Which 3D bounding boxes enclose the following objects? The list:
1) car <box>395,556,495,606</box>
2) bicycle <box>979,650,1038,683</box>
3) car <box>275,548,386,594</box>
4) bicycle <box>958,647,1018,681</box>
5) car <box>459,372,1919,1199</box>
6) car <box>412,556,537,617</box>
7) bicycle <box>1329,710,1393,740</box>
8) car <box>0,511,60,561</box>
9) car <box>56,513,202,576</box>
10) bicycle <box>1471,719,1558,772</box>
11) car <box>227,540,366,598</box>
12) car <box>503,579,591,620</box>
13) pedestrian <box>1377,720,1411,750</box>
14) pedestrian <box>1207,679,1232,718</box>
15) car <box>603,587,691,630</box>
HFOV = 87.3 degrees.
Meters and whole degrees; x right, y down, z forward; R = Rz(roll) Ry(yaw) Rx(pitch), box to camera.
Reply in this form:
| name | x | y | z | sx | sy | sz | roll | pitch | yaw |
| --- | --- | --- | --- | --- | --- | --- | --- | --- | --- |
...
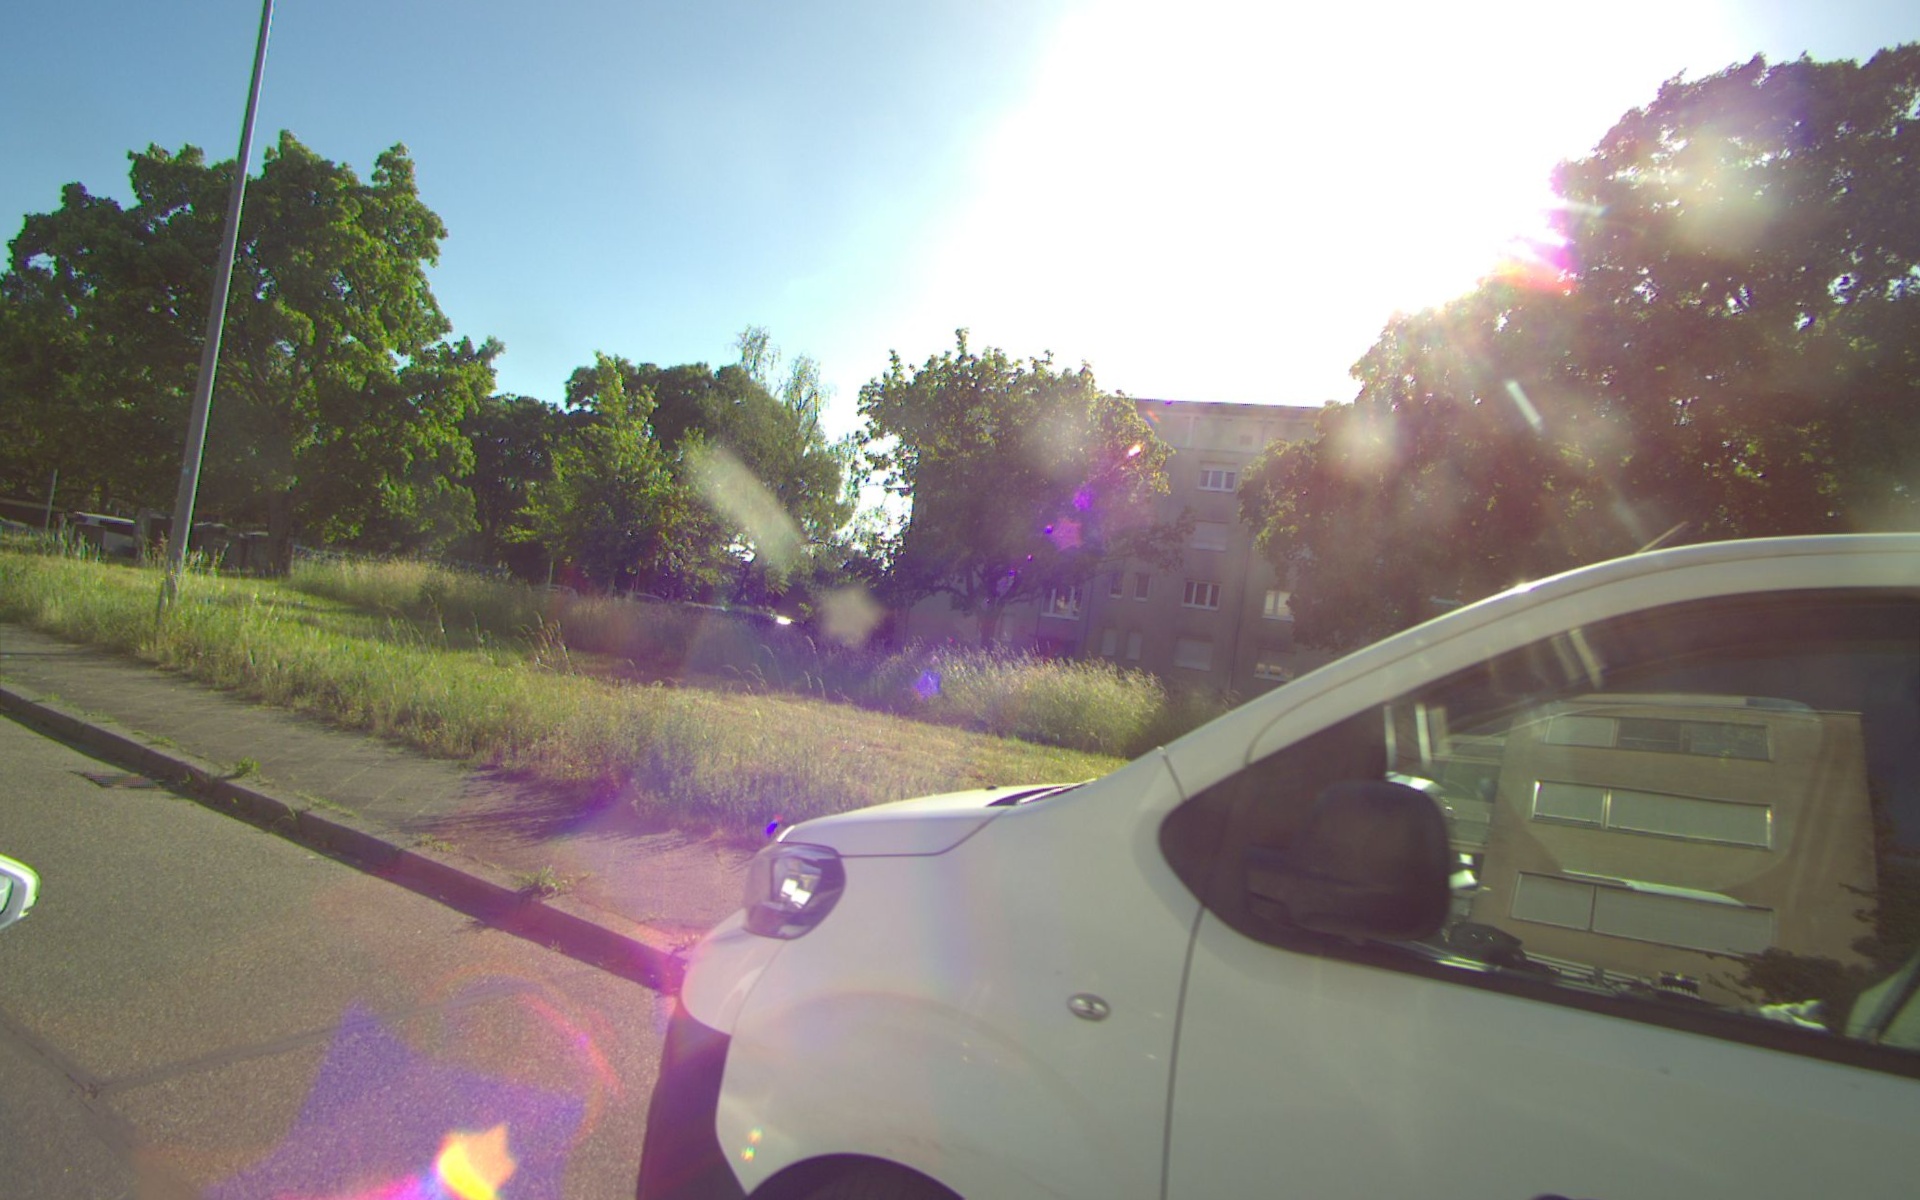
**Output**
| name | x | y | z | sx | sy | sz | roll | pitch | yaw |
| --- | --- | --- | --- | --- | --- | --- | --- | --- | --- |
| car | -25.977 | -0.948 | 50.826 | 1.973 | 1.872 | 3.863 | 7 | -3 | 42 |
| bicycle | 2.329 | 3.163 | 47.995 | 2.646 | 1.218 | 0.942 | 8 | -1 | 6 |
| car | -29.073 | -1.323 | 46.553 | 1.759 | 1.412 | 3.871 | 9 | -2 | 36 |
| bicycle | 1.327 | 2.997 | 47.227 | 2.646 | 1.218 | 0.942 | 8 | -1 | 6 |
| car | 1.658 | 0.874 | 1.625 | 4.782 | 1.891 | 1.922 | 7 | -4 | 29 |
| car | -22.240 | -0.580 | 46.214 | 2.241 | 2.035 | 4.503 | 7 | -3 | 40 |
| bicycle | 16.223 | 5.043 | 40.700 | 2.265 | 0.821 | 0.694 | 7 | -2 | 29 |
| car | -32.549 | -2.383 | 32.802 | 1.719 | 1.352 | 4.431 | 8 | -3 | 37 |
| car | -29.998 | -1.978 | 36.374 | 1.802 | 1.595 | 3.685 | 7 | -3 | 40 |
| bicycle | 21.071 | 5.508 | 38.302 | 2.705 | 1.543 | 0.782 | 7 | -1 | 23 |
| car | -26.595 | -1.208 | 40.427 | 1.944 | 1.559 | 4.106 | 8 | -3 | 38 |
| car | -22.623 | -0.003 | 55.220 | 1.968 | 1.629 | 3.872 | 7 | -3 | 34 |
| pedestrian | 15.256 | 4.734 | 35.368 | 0.986 | 0.858 | 0.745 | 7 | -2 | 22 |
| pedestrian | 10.464 | 3.959 | 40.590 | 0.753 | 1.474 | 0.757 | 7 | -1 | 18 |
| car | -18.472 | 0.531 | 59.432 | 1.971 | 1.828 | 4.453 | 7 | -2 | 40 |
